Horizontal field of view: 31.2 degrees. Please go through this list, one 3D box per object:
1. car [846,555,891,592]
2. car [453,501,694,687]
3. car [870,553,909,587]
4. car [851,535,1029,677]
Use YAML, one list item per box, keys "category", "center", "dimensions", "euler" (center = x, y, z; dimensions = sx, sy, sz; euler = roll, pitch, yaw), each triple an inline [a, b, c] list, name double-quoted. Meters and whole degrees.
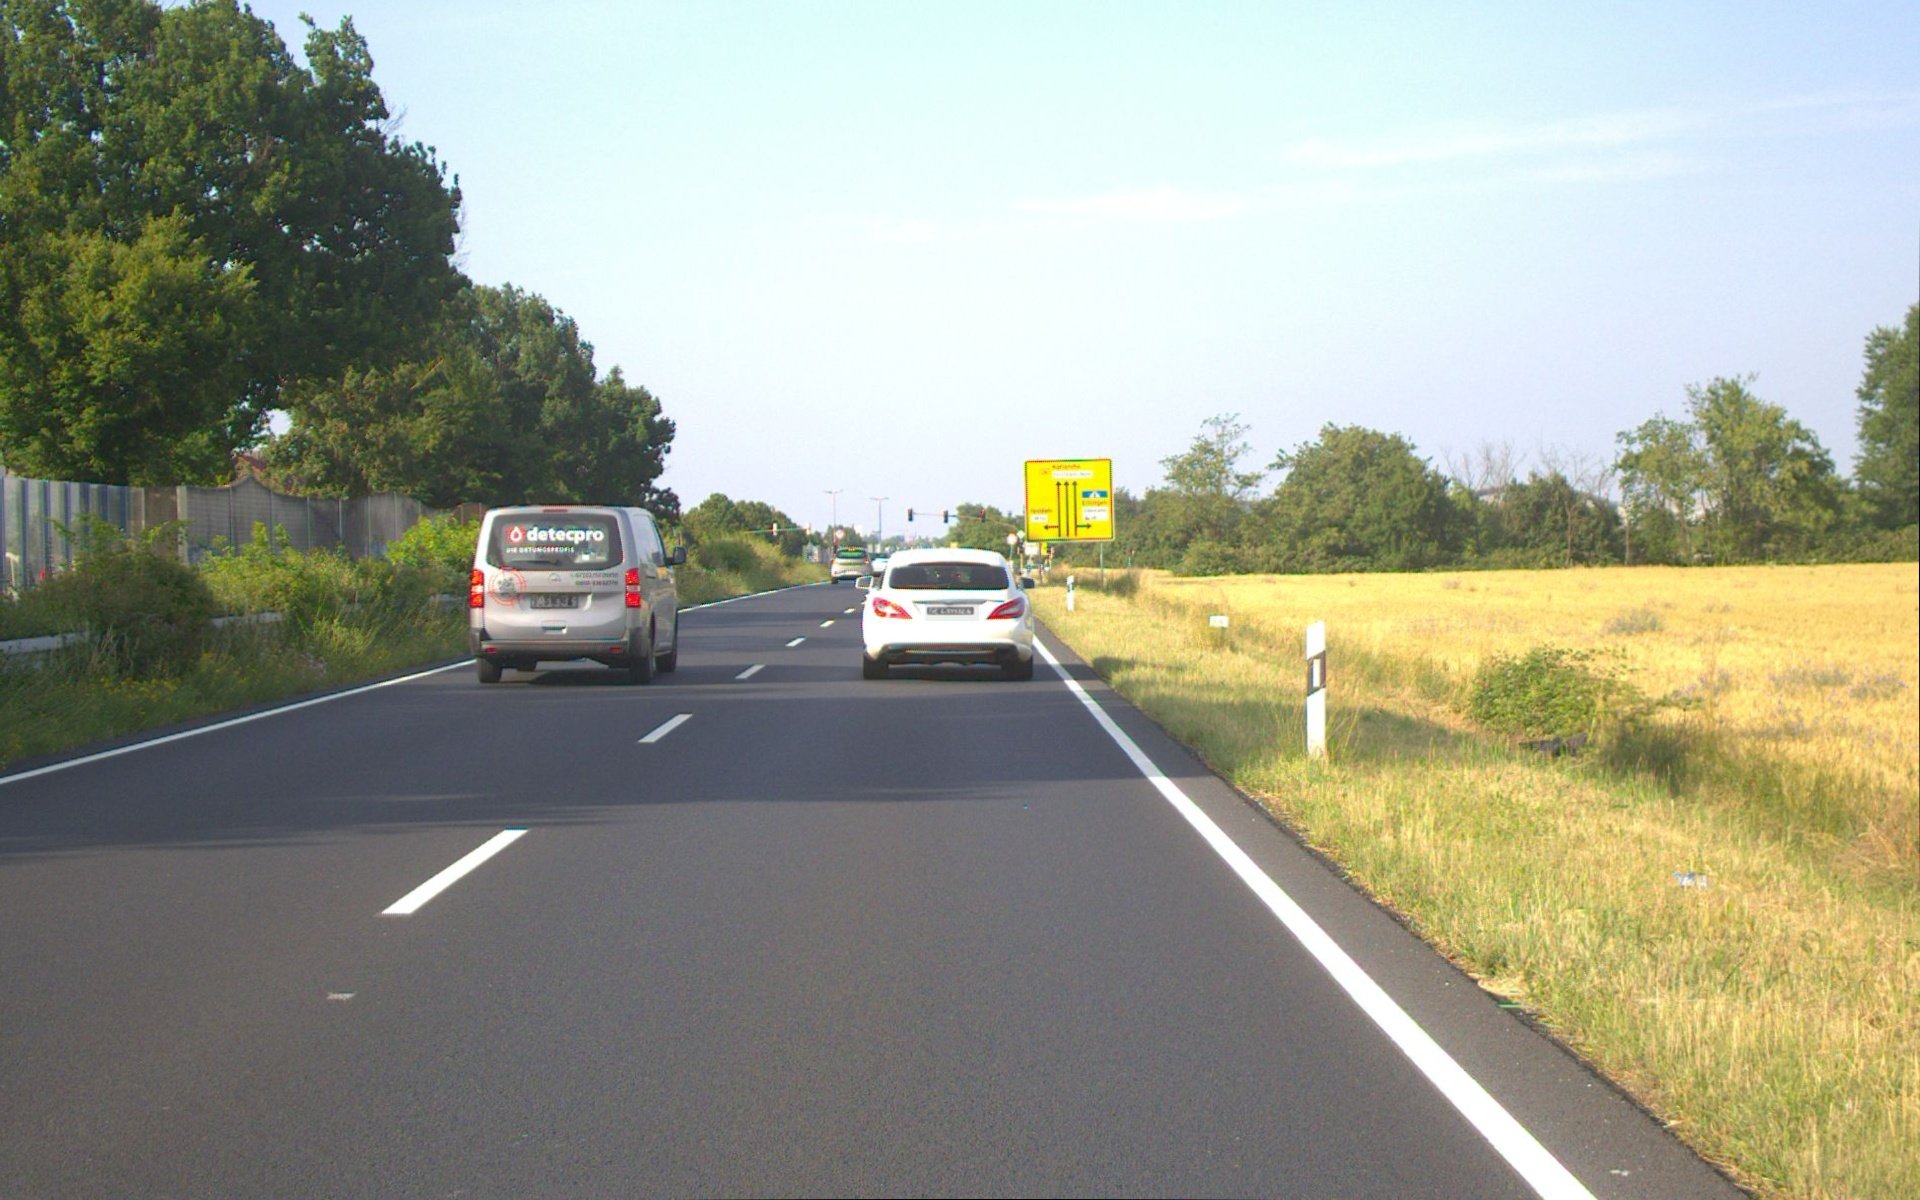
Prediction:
- category: "car"
  center: [-3.749, -1.111, 141.578]
  dimensions: [1.717, 1.487, 3.584]
  euler: [1, 1, 0]
- category: "car"
  center: [-4.158, -0.107, 37.766]
  dimensions: [2.025, 1.885, 4.958]
  euler: [1, 1, 1]
- category: "car"
  center: [-3.483, -1.494, 169.174]
  dimensions: [1.877, 1.645, 3.664]
  euler: [1, 1, -2]
- category: "car"
  center: [-0.227, 0.044, 38.673]
  dimensions: [1.894, 1.503, 4.000]
  euler: [0, 1, 0]
